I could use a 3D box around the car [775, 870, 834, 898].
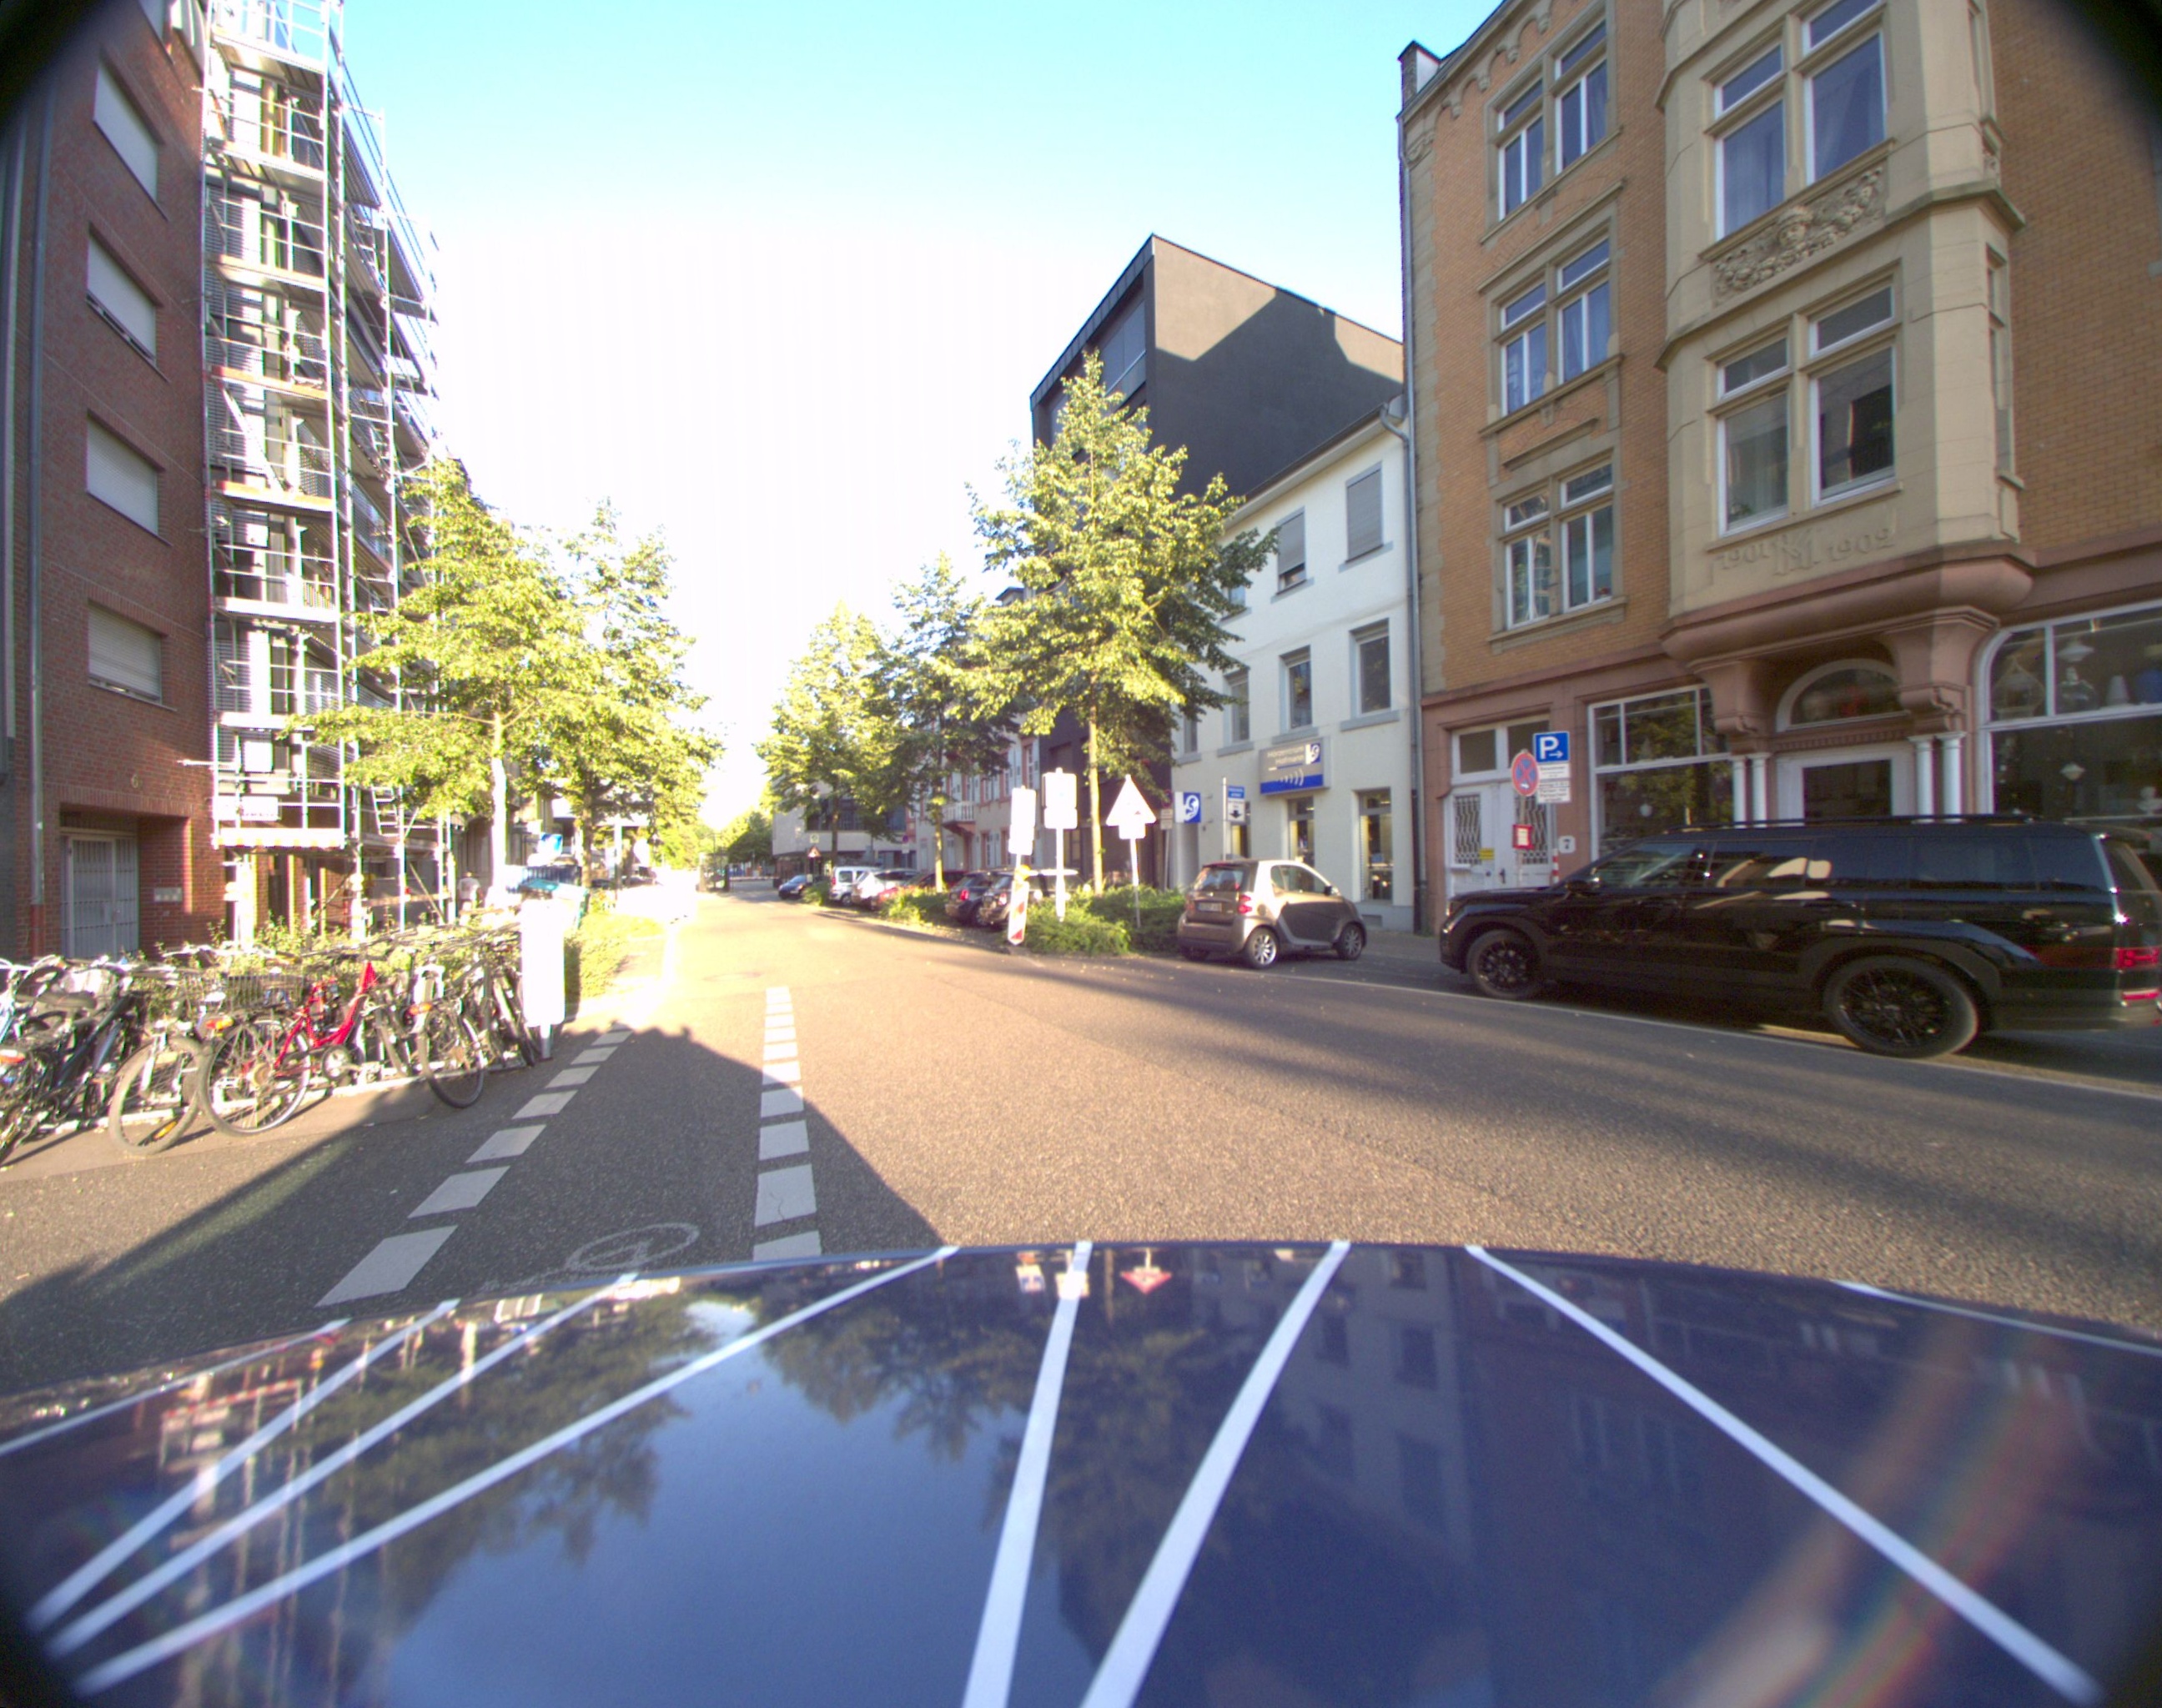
[{"bbox_3d":[-16.224,1.749,44.739,1.856,1.558,3.699,0,-1,5],"label":"car"}]

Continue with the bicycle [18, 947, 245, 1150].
[{"bbox_3d":[-7.002,1.353,5.697,0.469,1.137,1.549,-1,0,-28],"label":"bicycle"}]

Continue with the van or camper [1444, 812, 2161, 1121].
[{"bbox_3d":[5.890,0.691,6.758,1.899,1.797,4.450,0,-1,-33],"label":"van or camper"}]

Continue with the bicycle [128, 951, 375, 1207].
[{"bbox_3d":[-5.054,1.273,4.749,0.419,1.150,1.549,-1,0,-23],"label":"bicycle"}]

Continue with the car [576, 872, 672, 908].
[{"bbox_3d":[-23.198,1.804,38.721,4.005,1.674,1.887,0,-1,-26],"label":"car"}]

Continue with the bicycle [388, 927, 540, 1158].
[{"bbox_3d":[-4.170,1.178,5.236,0.499,1.213,1.549,-1,0,-28],"label":"bicycle"}]

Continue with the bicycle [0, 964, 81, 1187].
[{"bbox_3d":[-6.210,1.283,4.077,0.388,1.182,1.549,-1,0,-28],"label":"bicycle"}]

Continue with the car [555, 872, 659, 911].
[{"bbox_3d":[-22.419,1.741,36.111,4.005,1.674,1.887,0,-1,-26],"label":"car"}]

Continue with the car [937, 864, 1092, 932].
[{"bbox_3d":[-1.771,1.129,20.333,3.703,1.660,1.854,1,-1,-30],"label":"car"}]

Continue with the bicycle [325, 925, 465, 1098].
[{"bbox_3d":[-5.714,1.237,6.408,0.489,1.156,1.549,-1,0,-28],"label":"bicycle"}]

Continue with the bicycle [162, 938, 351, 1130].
[{"bbox_3d":[-6.330,1.304,5.926,0.489,1.143,1.549,-1,0,-28],"label":"bicycle"}]

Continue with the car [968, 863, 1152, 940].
[{"bbox_3d":[-0.481,1.075,18.314,4.015,1.660,1.854,1,-1,-30],"label":"car"}]

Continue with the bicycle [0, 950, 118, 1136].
[{"bbox_3d":[-7.600,1.327,5.321,0.459,1.125,1.549,-1,0,-28],"label":"bicycle"}]

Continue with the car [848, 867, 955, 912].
[{"bbox_3d":[-7.015,1.344,29.756,3.703,1.660,1.854,1,-1,-30],"label":"car"}]

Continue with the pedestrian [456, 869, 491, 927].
[{"bbox_3d":[-19.373,1.386,24.236,0.745,1.773,0.655,-1,0,-29],"label":"pedestrian"}]

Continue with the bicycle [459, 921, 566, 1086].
[{"bbox_3d":[-4.995,1.239,6.753,0.509,1.171,1.549,-1,0,-28],"label":"bicycle"}]

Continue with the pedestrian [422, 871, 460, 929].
[{"bbox_3d":[-19.995,1.417,23.751,0.744,1.773,0.655,-1,0,-28],"label":"pedestrian"}]

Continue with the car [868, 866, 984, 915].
[{"bbox_3d":[-5.621,1.292,27.570,3.703,1.660,1.854,1,-1,-30],"label":"car"}]

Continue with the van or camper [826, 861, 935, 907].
[{"bbox_3d":[-9.065,1.337,34.413,4.462,1.993,1.854,1,-1,-30],"label":"van or camper"}]

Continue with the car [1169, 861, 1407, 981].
[{"bbox_3d":[3.226,0.914,11.685,3.487,1.566,1.504,-1,0,-30],"label":"car"}]

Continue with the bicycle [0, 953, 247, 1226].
[{"bbox_3d":[-5.527,1.243,4.426,0.382,1.153,1.549,-1,0,-28],"label":"bicycle"}]
